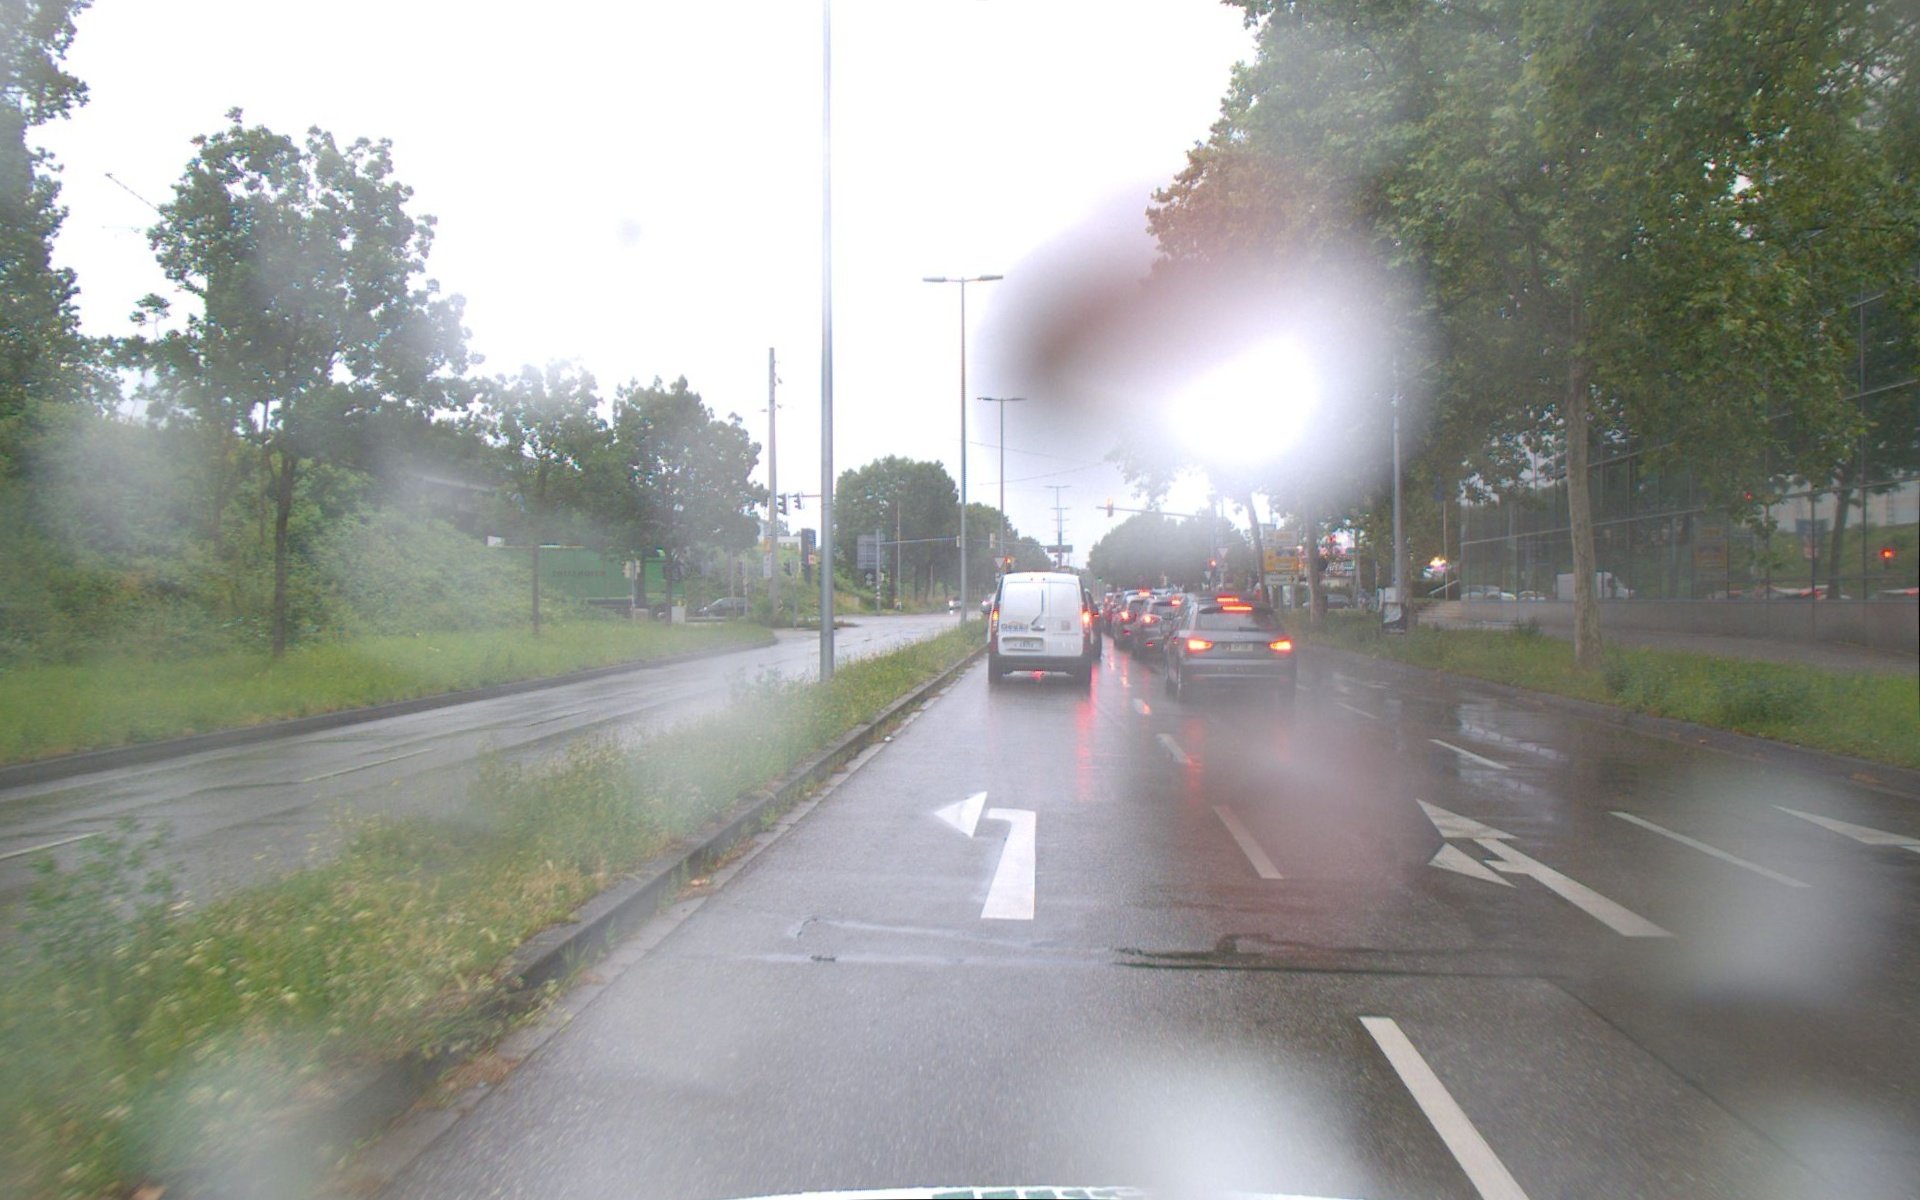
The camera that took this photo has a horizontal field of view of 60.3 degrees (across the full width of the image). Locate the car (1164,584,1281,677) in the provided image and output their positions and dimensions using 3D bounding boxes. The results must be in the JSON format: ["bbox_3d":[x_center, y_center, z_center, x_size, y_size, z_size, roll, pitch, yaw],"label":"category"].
[{"bbox_3d":[4.869,0.516,31.117,1.673,1.577,4.001,0,1,2],"label":"car"}]

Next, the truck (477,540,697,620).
[{"bbox_3d":[-17.745,-0.857,79.127,10.017,3.512,2.627,2,-2,-34],"label":"truck"}]

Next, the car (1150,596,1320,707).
[{"bbox_3d":[3.964,0.703,24.459,1.952,1.477,4.001,1,0,2],"label":"car"}]

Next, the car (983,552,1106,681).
[{"bbox_3d":[1.429,0.310,28.494,1.952,2.049,4.001,1,-1,2],"label":"car"}]

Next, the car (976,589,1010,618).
[{"bbox_3d":[1.876,0.166,93.021,1.680,1.540,3.616,-2,0,4],"label":"car"}]

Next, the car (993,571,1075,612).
[{"bbox_3d":[5.360,-0.568,119.461,5.945,2.792,1.977,2,-2,-33],"label":"car"}]

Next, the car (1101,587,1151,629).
[{"bbox_3d":[6.094,0.264,61.142,1.675,1.470,4.002,0,1,3],"label":"car"}]

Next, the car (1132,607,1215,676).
[{"bbox_3d":[4.934,0.932,38.629,1.675,1.470,4.002,0,1,3],"label":"car"}]

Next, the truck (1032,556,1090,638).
[{"bbox_3d":[3.179,-0.083,52.795,1.720,2.509,4.001,1,0,2],"label":"truck"}]

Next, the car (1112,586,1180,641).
[{"bbox_3d":[5.144,0.347,46.171,1.675,1.470,4.002,0,1,3],"label":"car"}]
